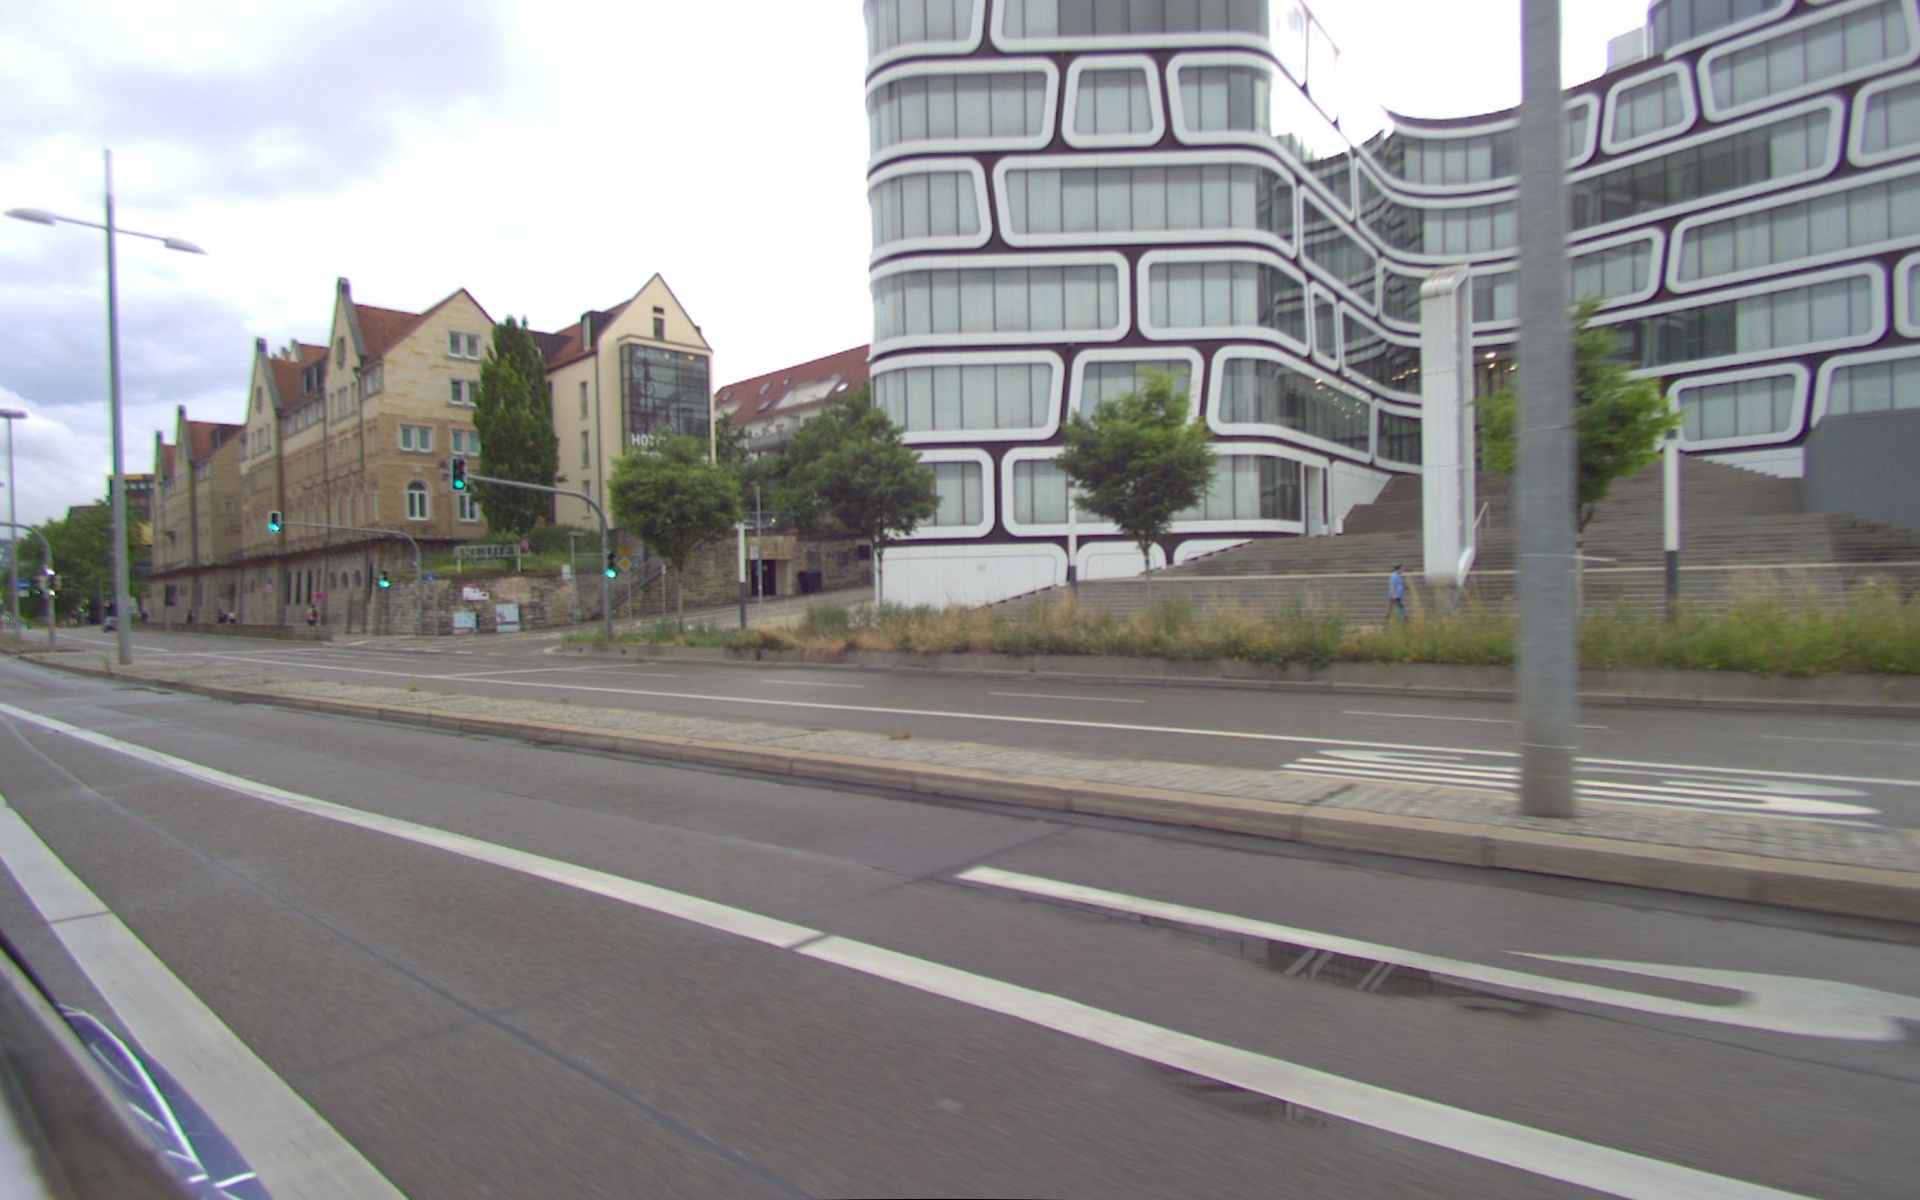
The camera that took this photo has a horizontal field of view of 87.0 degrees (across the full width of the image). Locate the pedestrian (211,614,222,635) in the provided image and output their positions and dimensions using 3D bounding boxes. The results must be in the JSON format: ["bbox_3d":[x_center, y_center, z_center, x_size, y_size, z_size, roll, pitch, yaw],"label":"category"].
[{"bbox_3d":[-63.085,2.082,85.895,0.684,1.792,0.668,0,0,44],"label":"pedestrian"}]

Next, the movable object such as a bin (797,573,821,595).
[{"bbox_3d":[-9.396,-0.997,63.037,1.118,1.252,0.816,-3,6,44],"label":"movable object such as a bin"}]

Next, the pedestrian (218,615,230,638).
[{"bbox_3d":[-58.349,2.095,80.204,0.684,1.792,0.668,0,0,44],"label":"pedestrian"}]

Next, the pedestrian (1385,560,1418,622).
[{"bbox_3d":[11.748,-0.247,26.909,0.639,1.623,0.604,0,1,41],"label":"pedestrian"}]

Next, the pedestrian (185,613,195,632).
[{"bbox_3d":[-73.361,2.101,96.425,0.684,1.792,0.668,0,0,44],"label":"pedestrian"}]

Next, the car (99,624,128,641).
[{"bbox_3d":[-81.565,3.137,97.480,4.002,1.475,1.691,-2,0,45],"label":"car"}]

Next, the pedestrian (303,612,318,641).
[{"bbox_3d":[-40.999,1.660,63.850,0.684,1.792,0.668,0,0,44],"label":"pedestrian"}]
